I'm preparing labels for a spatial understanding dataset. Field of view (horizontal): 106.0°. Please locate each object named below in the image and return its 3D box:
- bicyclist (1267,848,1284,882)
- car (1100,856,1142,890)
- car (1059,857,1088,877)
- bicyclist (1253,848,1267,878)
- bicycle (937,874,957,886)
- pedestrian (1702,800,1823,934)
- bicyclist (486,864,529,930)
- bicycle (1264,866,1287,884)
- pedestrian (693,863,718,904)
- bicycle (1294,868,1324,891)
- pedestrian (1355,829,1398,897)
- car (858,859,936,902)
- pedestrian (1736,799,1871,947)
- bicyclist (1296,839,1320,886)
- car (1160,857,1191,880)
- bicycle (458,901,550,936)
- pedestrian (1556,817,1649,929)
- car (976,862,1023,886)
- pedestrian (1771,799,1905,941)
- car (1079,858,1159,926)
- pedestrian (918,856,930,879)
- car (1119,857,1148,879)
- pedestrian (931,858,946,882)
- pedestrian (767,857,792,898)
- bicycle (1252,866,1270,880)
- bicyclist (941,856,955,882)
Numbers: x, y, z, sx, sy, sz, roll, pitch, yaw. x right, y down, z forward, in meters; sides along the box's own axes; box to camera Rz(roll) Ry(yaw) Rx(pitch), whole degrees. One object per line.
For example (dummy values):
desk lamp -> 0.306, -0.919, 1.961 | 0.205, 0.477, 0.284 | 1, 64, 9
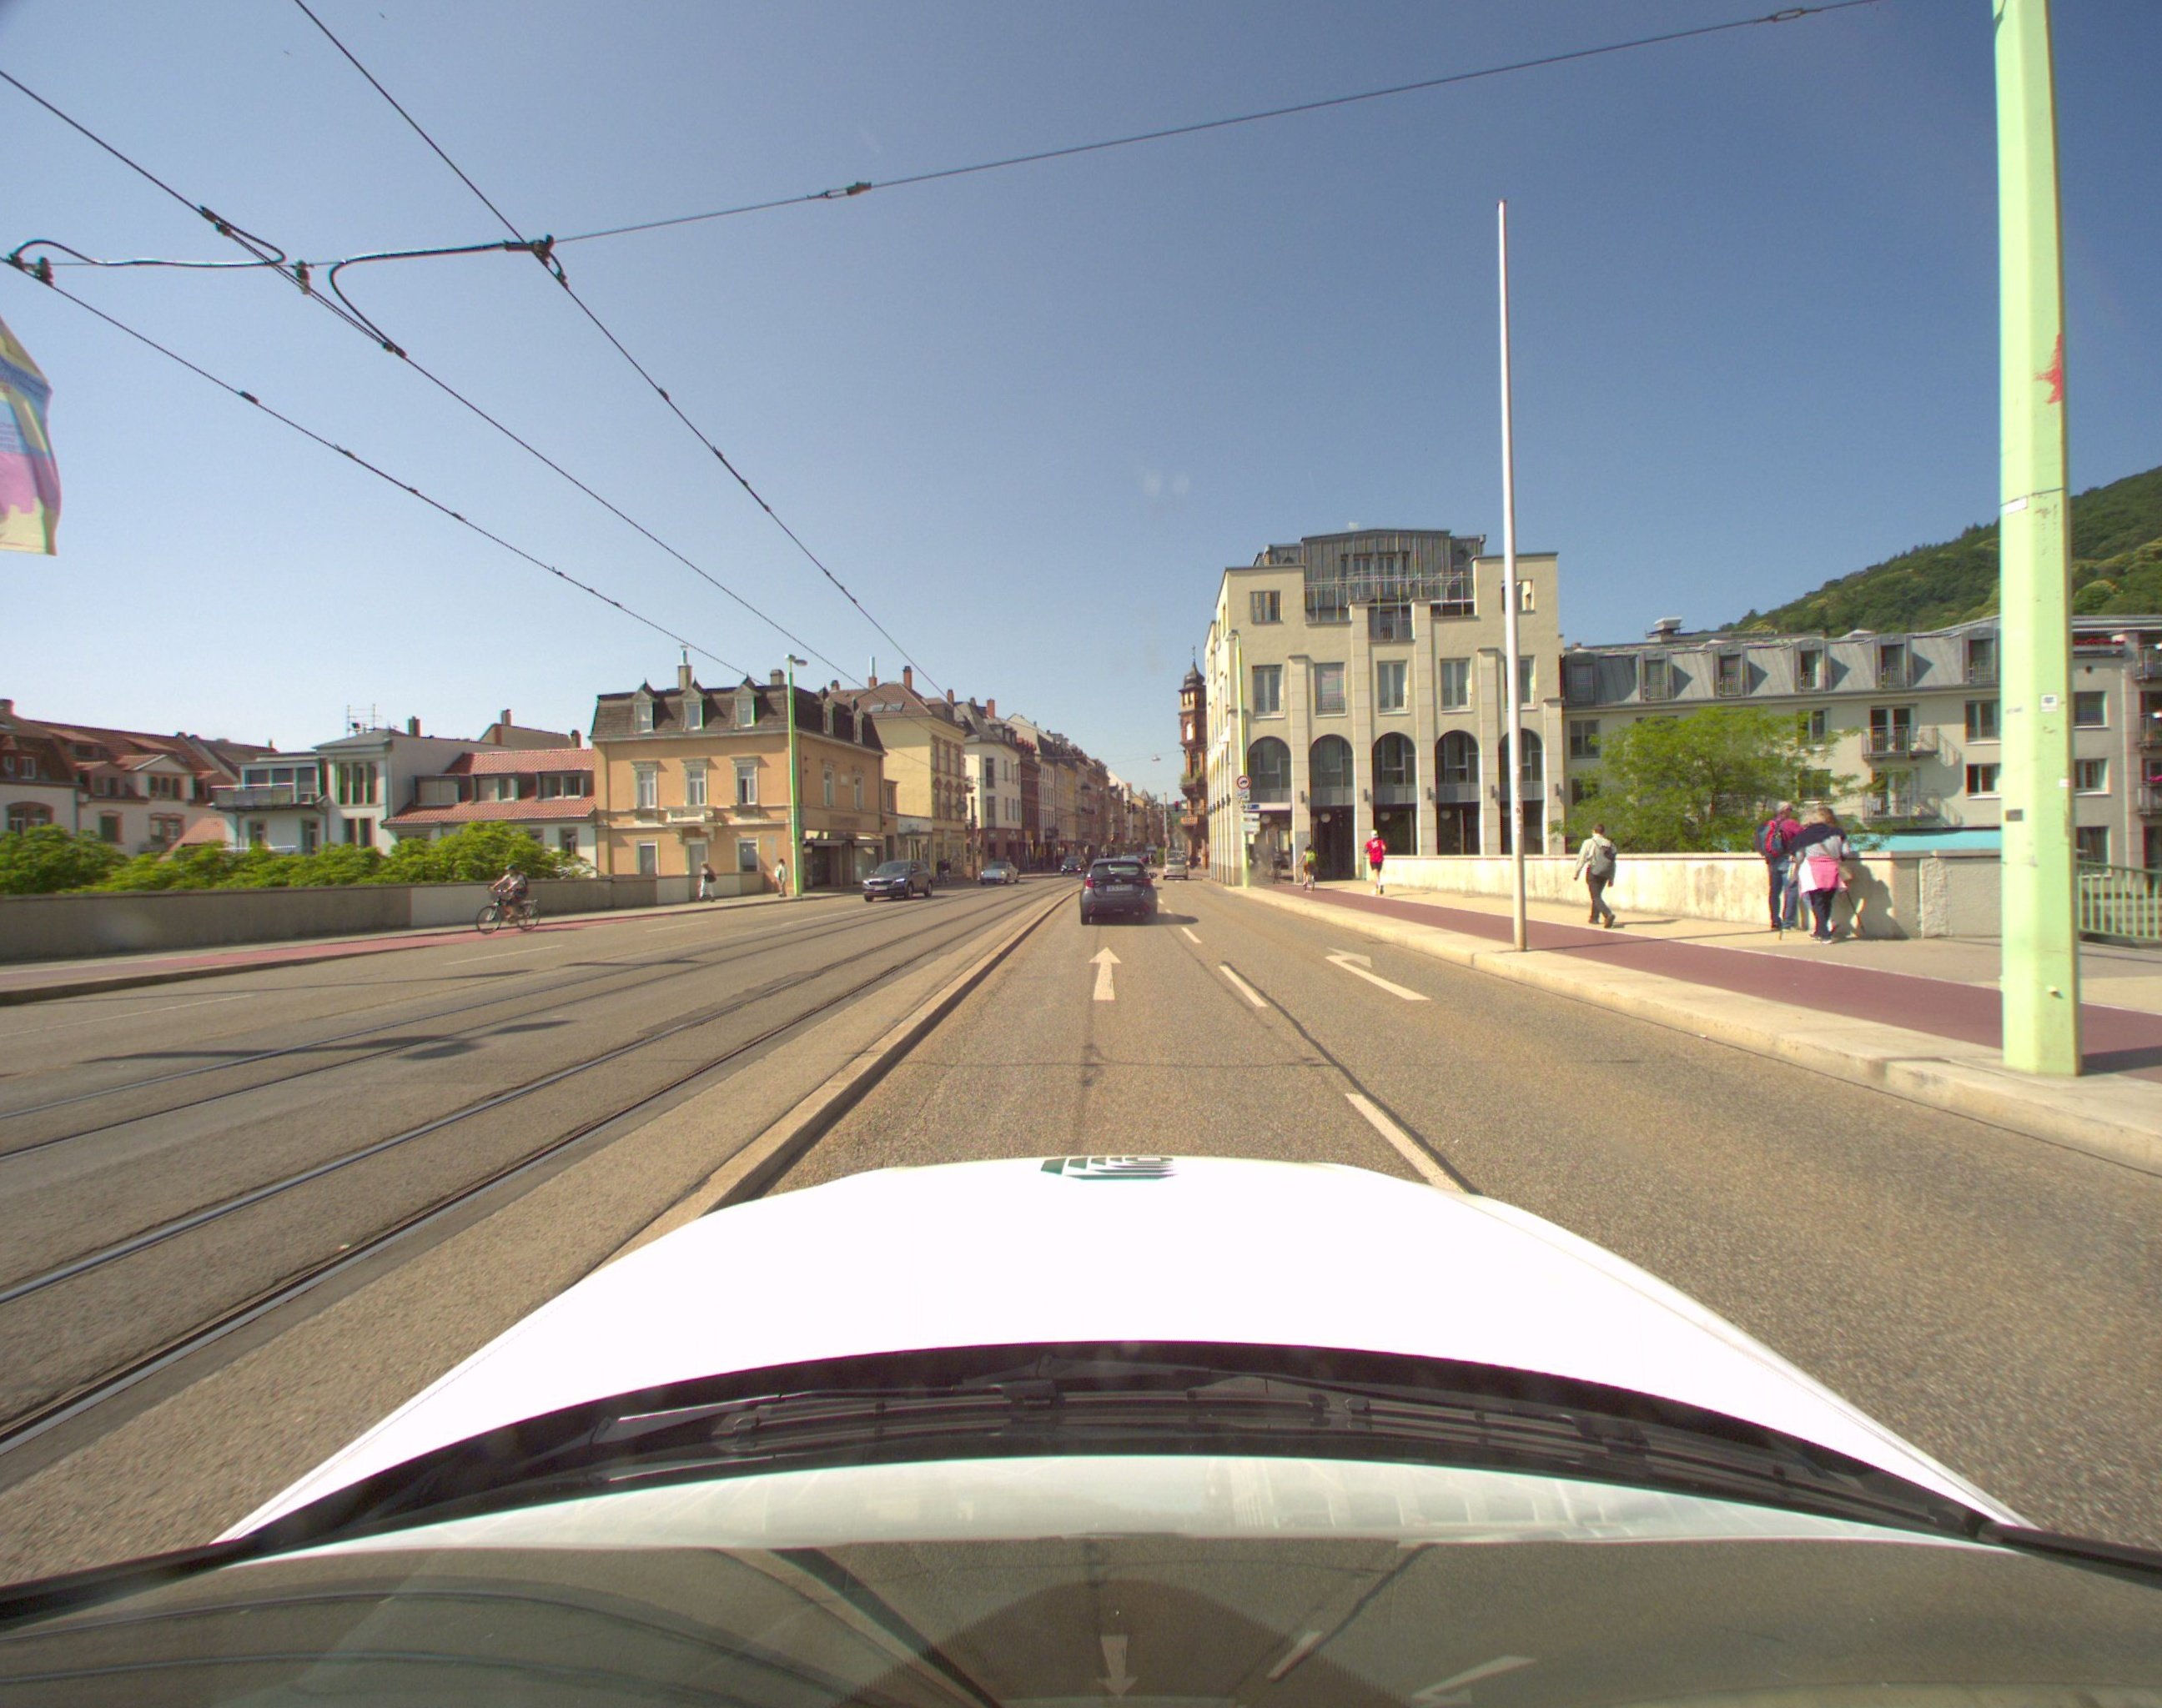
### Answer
bicyclist -> 9.057, 0.495, 37.961 | 0.585, 1.559, 0.702 | -2, -1, 0
car -> 1.889, 0.883, 39.249 | 1.890, 1.530, 4.001 | 0, 0, 2
car -> -0.674, 1.170, 74.786 | 1.982, 1.773, 4.010 | -1, -1, 9
bicyclist -> 10.110, 0.495, 46.081 | 0.585, 1.650, 0.702 | -2, -1, 0
bicycle -> -8.627, 1.667, 52.459 | 0.616, 0.716, 2.051 | 0, 0, 11
pedestrian -> 9.699, 0.186, 11.618 | 1.009, 1.802, 0.741 | -3, -1, 0
bicyclist -> -14.785, 1.103, 21.005 | 0.623, 1.650, 0.623 | 0, 0, 11
bicycle -> 9.076, 0.980, 38.031 | 0.592, 0.765, 1.830 | -2, 0, -1
pedestrian -> -15.215, 1.189, 32.997 | 0.646, 1.602, 0.566 | 3, 2, 2
bicycle -> 8.167, 0.896, 29.254 | 0.591, 0.765, 1.867 | -2, 0, 2
pedestrian -> 8.637, 0.262, 23.855 | 0.808, 1.925, 1.128 | -2, -1, 1
car -> -7.284, 1.013, 32.654 | 1.784, 1.545, 3.928 | -2, -1, 7
pedestrian -> 9.211, 0.233, 10.433 | 0.737, 1.777, 1.015 | -3, -1, -1
bicyclist -> 8.147, 0.300, 29.230 | 0.602, 1.650, 0.702 | -2, -1, 2
car -> 6.441, 0.965, 55.885 | 1.699, 1.466, 4.327 | 0, 0, 2
bicycle -> -14.789, 1.638, 20.957 | 0.616, 0.716, 2.051 | 0, 0, 11
pedestrian -> 8.493, 0.307, 13.304 | 0.752, 1.718, 1.073 | -3, -1, 1
car -> -5.093, 1.212, 51.370 | 1.982, 1.432, 4.010 | -1, -1, 9
pedestrian -> 9.896, 0.200, 10.691 | 0.736, 1.746, 1.016 | -3, -1, 1
car -> 0.876, 0.824, 19.405 | 1.713, 1.473, 3.659 | 0, 0, 2
pedestrian -> -11.289, 0.951, 58.632 | 0.646, 1.602, 0.566 | 3, 2, 2
car -> 3.717, 0.967, 58.222 | 1.890, 1.530, 4.001 | 0, 0, 2
pedestrian -> -9.926, 1.101, 56.861 | 0.758, 1.654, 0.713 | 3, -1, 8
pedestrian -> -13.563, 1.051, 36.664 | 0.733, 1.766, 0.787 | 3, -1, 2
bicycle -> 10.143, 1.067, 45.918 | 0.592, 0.765, 1.866 | -2, 0, -1
bicyclist -> -8.595, 0.954, 52.559 | 0.701, 1.650, 0.623 | 0, 0, 10
